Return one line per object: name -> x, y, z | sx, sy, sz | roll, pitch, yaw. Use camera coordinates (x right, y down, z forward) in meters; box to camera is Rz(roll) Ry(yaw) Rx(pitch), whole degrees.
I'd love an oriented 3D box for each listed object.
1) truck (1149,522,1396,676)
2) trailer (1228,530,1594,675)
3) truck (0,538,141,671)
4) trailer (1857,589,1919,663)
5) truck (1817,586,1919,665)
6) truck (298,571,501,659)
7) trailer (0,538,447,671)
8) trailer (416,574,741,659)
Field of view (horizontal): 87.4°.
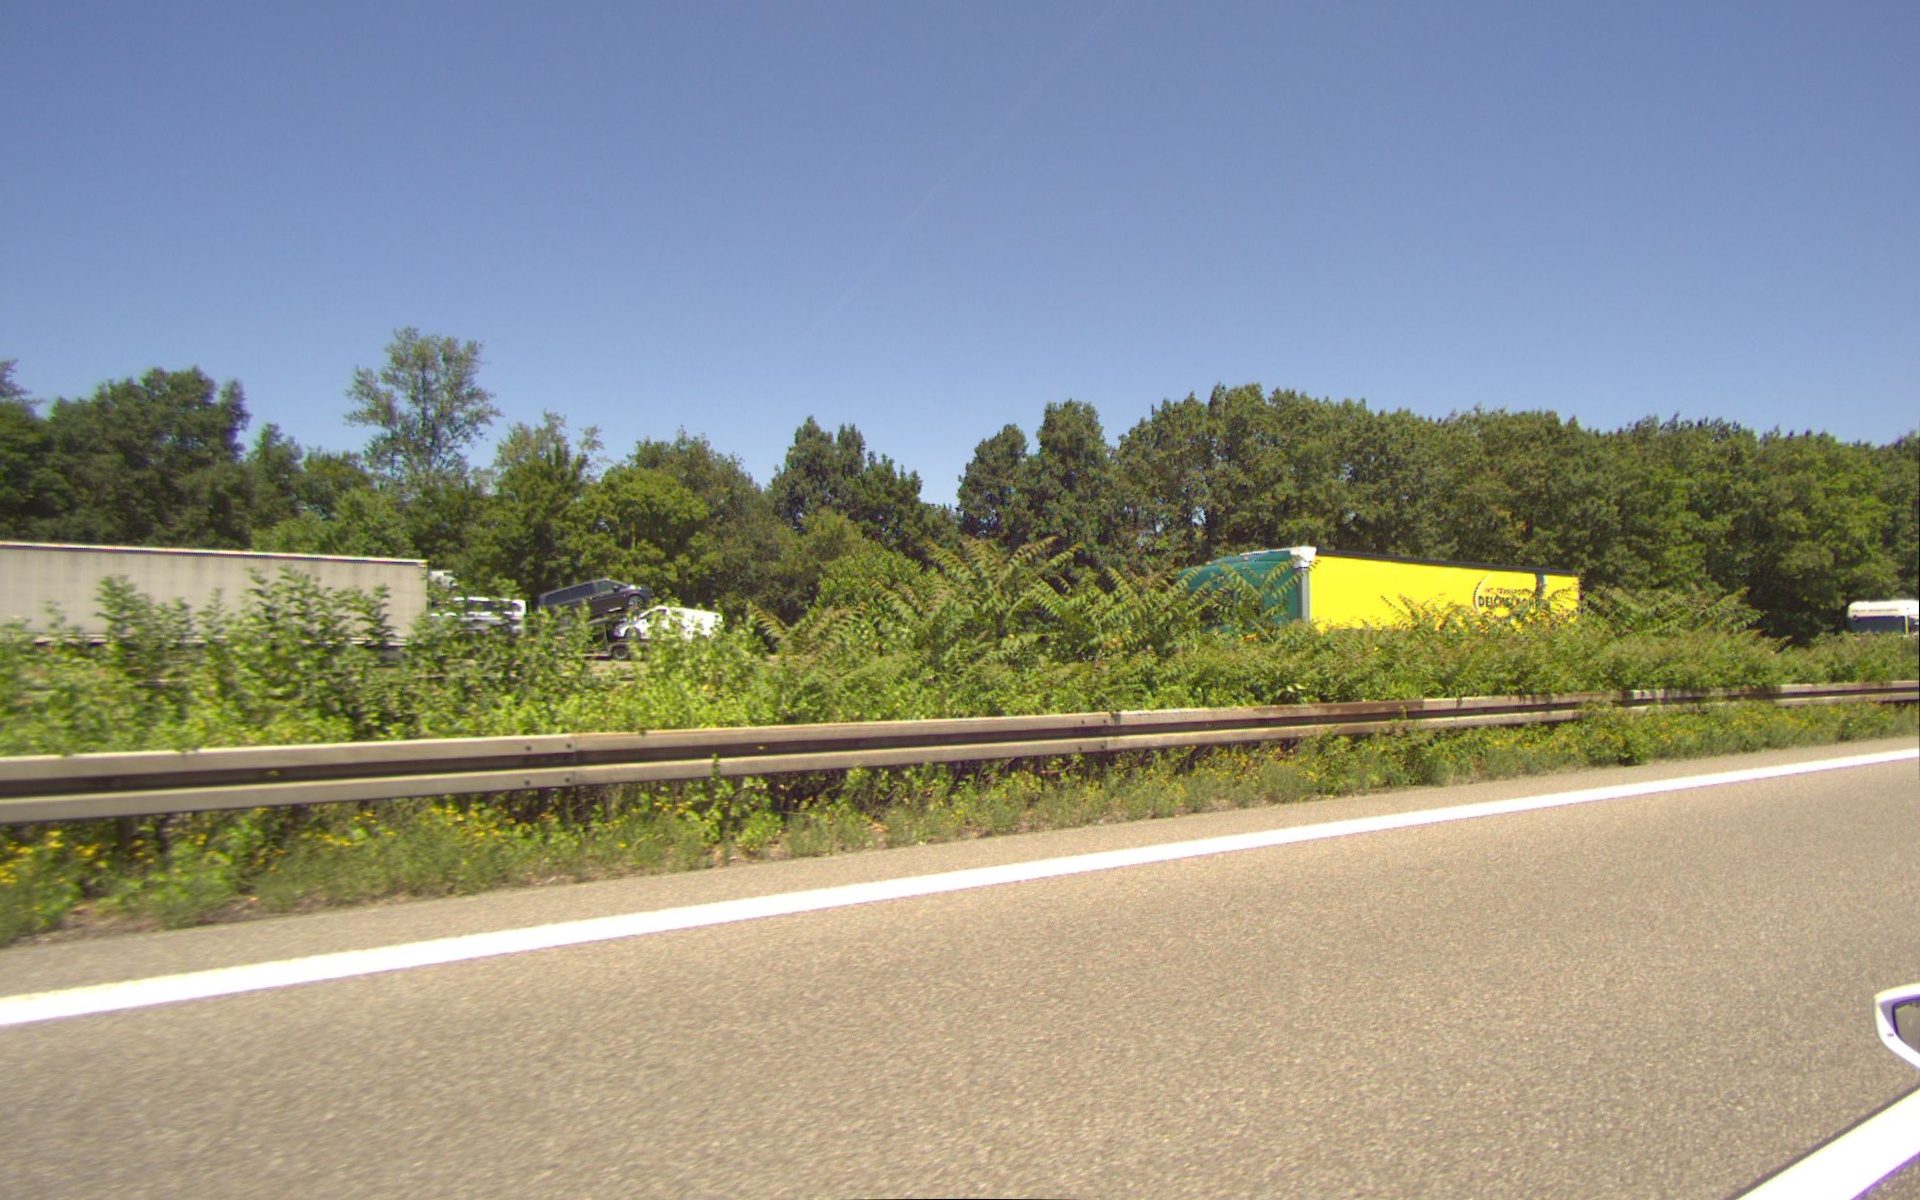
truck -> 8.836, 0.050, 28.312 | 6.321, 3.876, 3.182 | 2, 0, -31
trailer -> 14.700, 0.250, 31.843 | 13.862, 3.876, 3.182 | 2, 0, -31
truck -> -31.824, 0.088, 32.720 | 7.291, 4.190, 3.206 | 2, 0, -25
trailer -> 53.666, 1.523, 54.135 | 15.780, 3.627, 3.182 | 2, 0, -30
truck -> 45.819, 1.255, 49.558 | 6.914, 3.627, 3.183 | 2, 0, -30
truck -> -24.879, 0.742, 45.115 | 7.287, 3.704, 3.599 | 1, -2, -18
trailer -> -26.048, 0.283, 35.450 | 13.860, 4.190, 3.206 | 2, 0, -25
trailer -> -17.610, 0.892, 47.556 | 13.803, 3.704, 3.599 | 1, -2, -19
